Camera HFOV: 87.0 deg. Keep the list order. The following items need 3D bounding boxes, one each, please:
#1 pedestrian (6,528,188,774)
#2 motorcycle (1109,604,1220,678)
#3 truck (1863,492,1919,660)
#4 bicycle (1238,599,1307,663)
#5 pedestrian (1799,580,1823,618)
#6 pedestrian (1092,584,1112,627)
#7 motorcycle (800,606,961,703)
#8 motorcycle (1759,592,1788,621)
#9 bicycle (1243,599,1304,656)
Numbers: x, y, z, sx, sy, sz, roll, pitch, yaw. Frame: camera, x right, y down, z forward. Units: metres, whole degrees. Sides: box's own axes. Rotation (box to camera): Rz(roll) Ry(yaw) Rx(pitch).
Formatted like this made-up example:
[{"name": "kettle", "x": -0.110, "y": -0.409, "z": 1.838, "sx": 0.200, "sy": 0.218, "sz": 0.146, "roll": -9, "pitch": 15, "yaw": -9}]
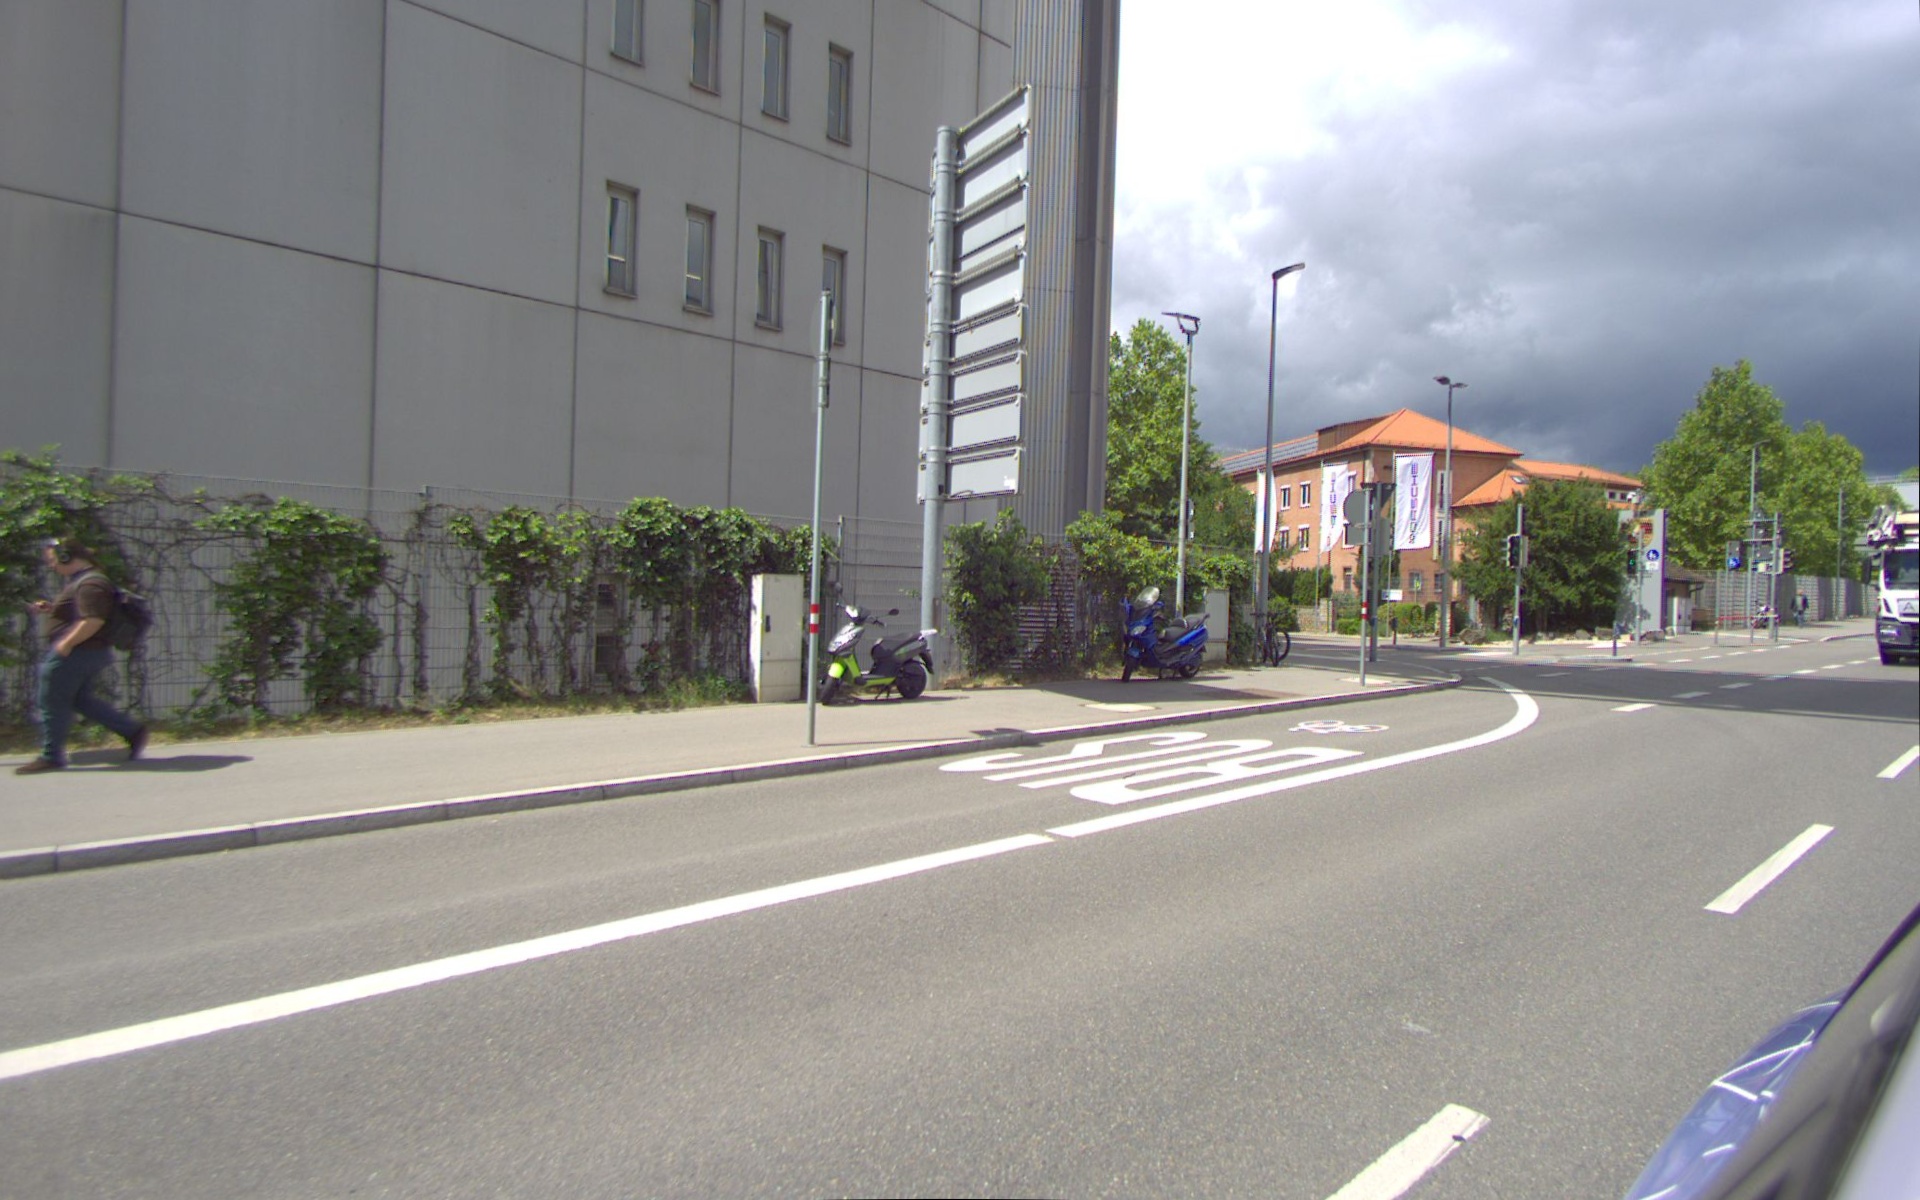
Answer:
[{"name": "pedestrian", "x": -6.340, "y": 0.323, "z": 7.461, "sx": 0.980, "sy": 1.665, "sz": 0.811, "roll": 0, "pitch": 3, "yaw": -42}, {"name": "motorcycle", "x": 3.303, "y": 0.627, "z": 16.237, "sx": 2.001, "sy": 1.080, "sz": 0.592, "roll": 0, "pitch": 3, "yaw": -41}, {"name": "truck", "x": 26.768, "y": -0.612, "z": 26.727, "sx": 10.548, "sy": 3.934, "sz": 2.712, "roll": -1, "pitch": 0, "yaw": -39}, {"name": "bicycle", "x": 6.161, "y": 0.587, "z": 20.066, "sx": 0.535, "sy": 1.142, "sz": 1.973, "roll": 2, "pitch": 1, "yaw": -6}, {"name": "pedestrian", "x": 39.963, "y": -0.055, "z": 47.521, "sx": 0.998, "sy": 1.788, "sz": 0.728, "roll": 0, "pitch": 0, "yaw": -40}, {"name": "pedestrian", "x": 5.999, "y": 0.234, "z": 42.870, "sx": 0.624, "sy": 1.802, "sz": 0.746, "roll": 0, "pitch": 0, "yaw": -12}, {"name": "motorcycle", "x": -0.953, "y": 0.633, "z": 12.518, "sx": 2.001, "sy": 1.080, "sz": 0.592, "roll": 0, "pitch": 2, "yaw": -41}, {"name": "motorcycle", "x": 36.094, "y": 0.271, "z": 44.888, "sx": 2.137, "sy": 1.241, "sz": 0.570, "roll": -1, "pitch": 2, "yaw": -40}, {"name": "bicycle", "x": 6.741, "y": 0.569, "z": 21.865, "sx": 0.535, "sy": 1.142, "sz": 1.889, "roll": 2, "pitch": 1, "yaw": -6}]
